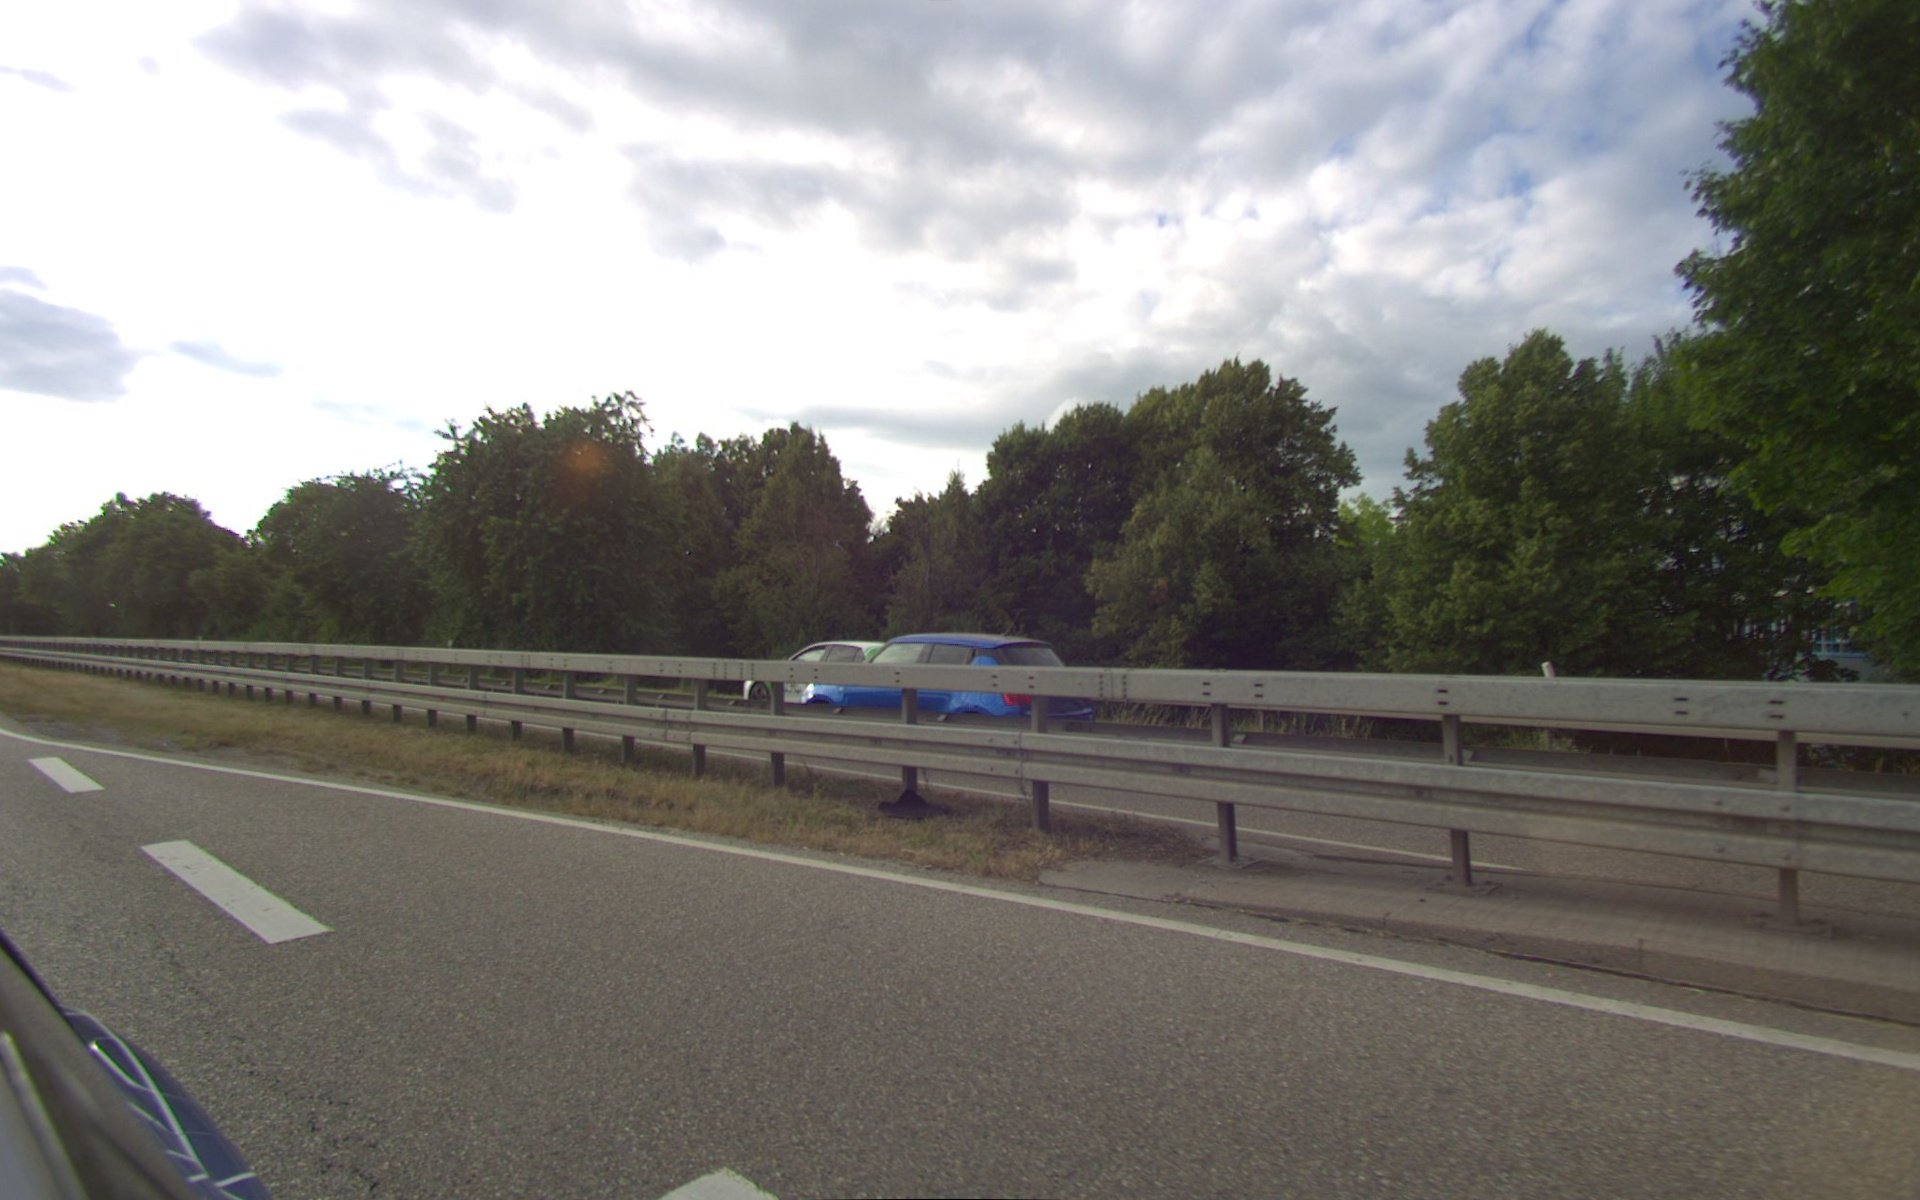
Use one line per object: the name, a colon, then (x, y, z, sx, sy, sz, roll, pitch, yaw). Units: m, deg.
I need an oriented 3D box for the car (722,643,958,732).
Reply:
car: (-2.271, 1.494, 18.421, 4.456, 1.424, 1.740, -2, -3, 41)

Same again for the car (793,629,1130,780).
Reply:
car: (-0.078, 1.097, 11.801, 3.710, 1.479, 1.750, -2, -3, 41)
